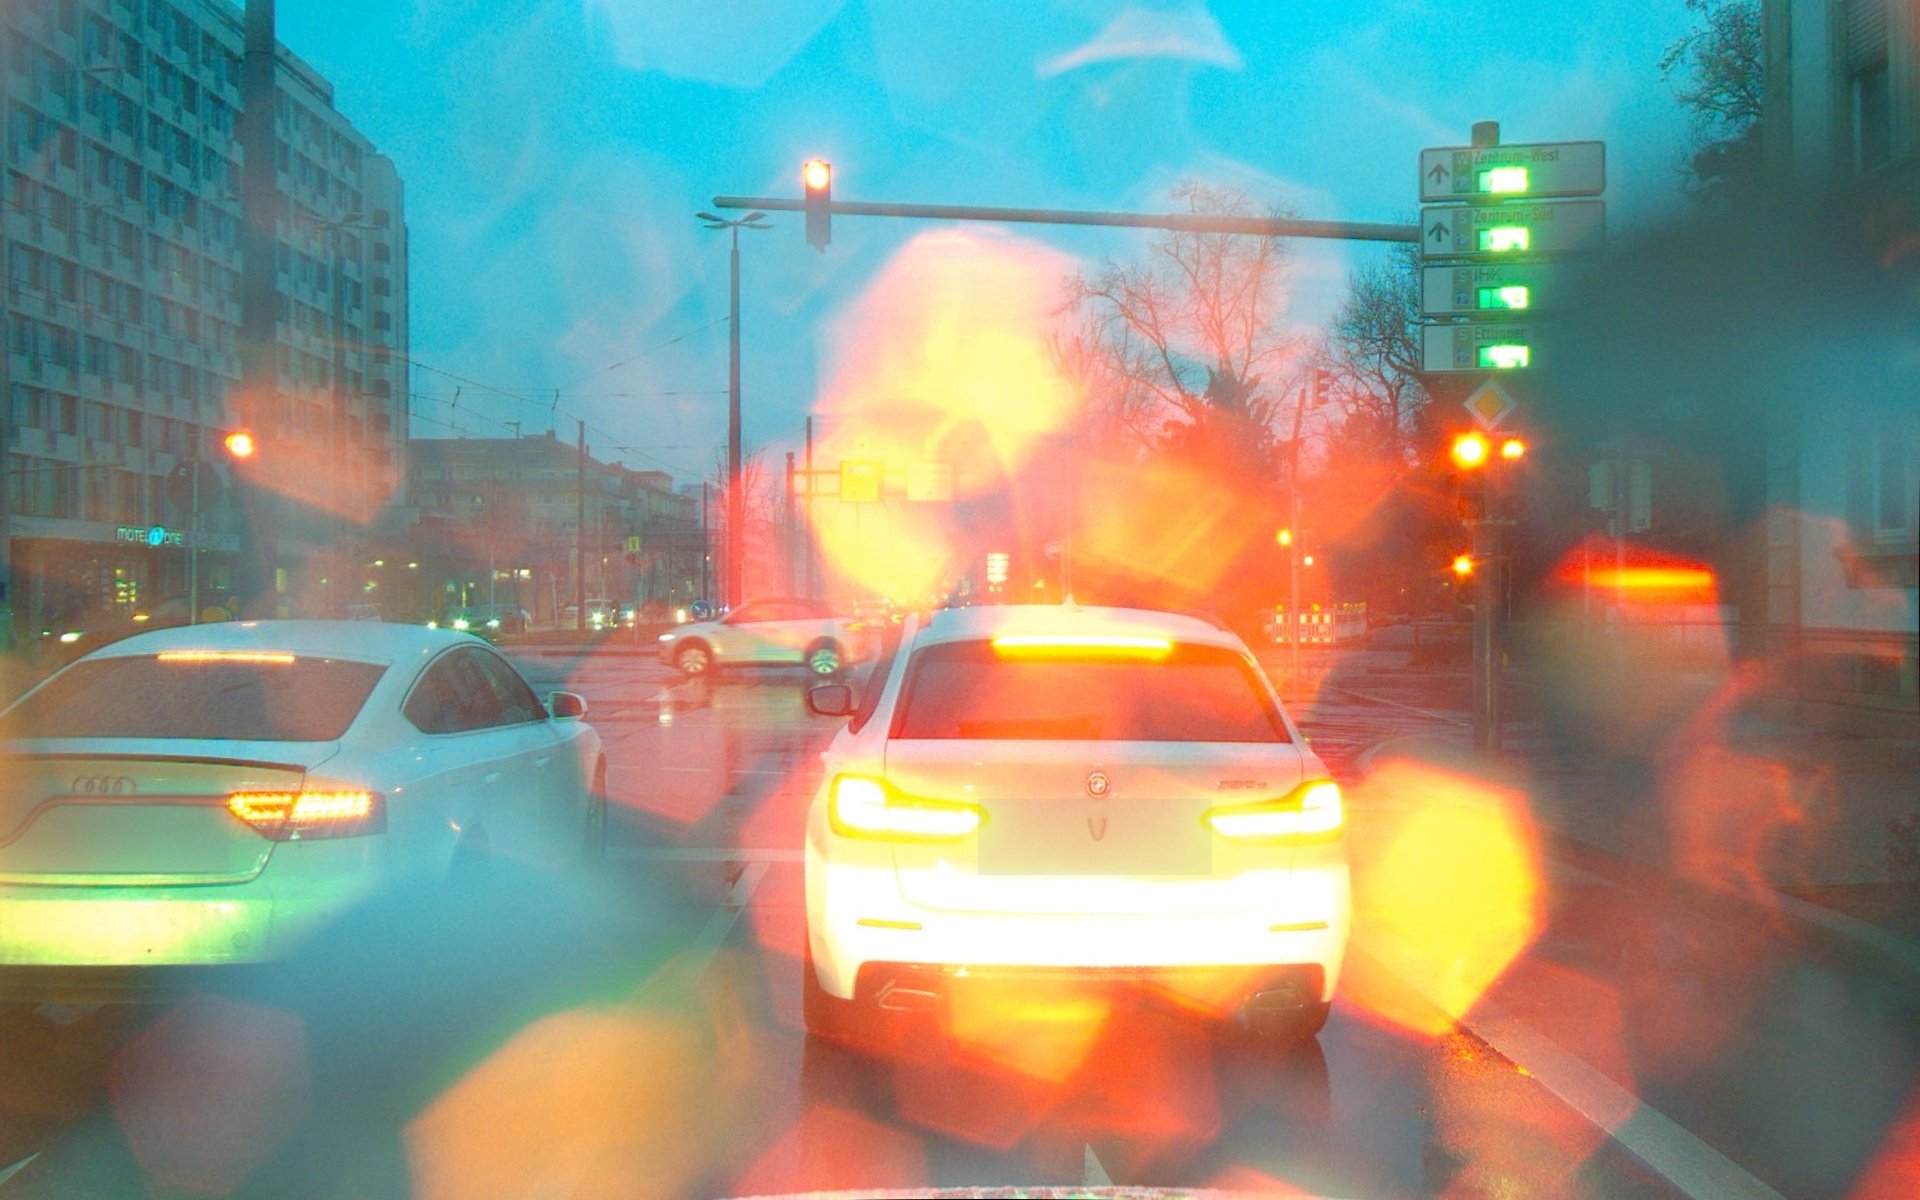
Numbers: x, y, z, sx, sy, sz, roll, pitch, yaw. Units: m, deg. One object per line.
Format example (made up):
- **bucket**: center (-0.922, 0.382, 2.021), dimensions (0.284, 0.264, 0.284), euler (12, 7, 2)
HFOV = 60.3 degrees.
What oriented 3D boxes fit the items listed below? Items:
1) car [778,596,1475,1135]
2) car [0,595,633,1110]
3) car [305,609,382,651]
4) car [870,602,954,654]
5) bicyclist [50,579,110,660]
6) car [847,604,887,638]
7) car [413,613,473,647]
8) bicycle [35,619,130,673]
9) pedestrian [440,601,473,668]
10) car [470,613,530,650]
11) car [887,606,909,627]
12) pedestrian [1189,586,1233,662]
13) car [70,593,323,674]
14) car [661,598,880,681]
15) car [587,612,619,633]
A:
- **car**: center (0.378, 0.735, 6.806), dimensions (1.954, 1.481, 4.366), euler (0, 0, -3)
- **car**: center (-2.704, 0.727, 6.977), dimensions (1.954, 1.481, 4.366), euler (0, 0, -3)
- **car**: center (-23.876, 1.148, 64.176), dimensions (1.641, 1.534, 3.695), euler (1, -1, -1)
- **car**: center (-1.461, 0.820, 48.495), dimensions (1.721, 1.426, 3.987), euler (2, -1, -13)
- **bicyclist**: center (-19.789, 0.447, 37.209), dimensions (0.955, 1.789, 0.810), euler (1, -1, 35)
- **car**: center (-4.574, 1.010, 81.279), dimensions (1.710, 1.581, 3.962), euler (2, -1, -6)
- **car**: center (-24.163, 1.407, 77.377), dimensions (1.641, 1.534, 3.695), euler (1, -1, -1)
- **bicycle**: center (-19.713, 1.020, 37.126), dimensions (2.622, 1.108, 0.812), euler (1, -1, 36)
- **pedestrian**: center (-13.420, 0.919, 44.122), dimensions (0.777, 1.741, 0.809), euler (2, -1, -16)
- **car**: center (-20.229, 1.384, 72.830), dimensions (1.641, 1.534, 3.695), euler (1, -1, -1)
- **car**: center (-5.121, 1.372, 137.281), dimensions (1.806, 1.637, 3.943), euler (1, -1, -2)
- **pedestrian**: center (6.396, 0.618, 42.137), dimensions (0.884, 1.888, 0.812), euler (1, -1, 23)
- **car**: center (-14.473, 0.644, 31.570), dimensions (4.021, 1.466, 1.834), euler (1, -1, -12)
- **car**: center (-3.691, 0.774, 32.645), dimensions (4.007, 1.556, 1.840), euler (0, -1, 3)
- **car**: center (-26.618, 1.695, 123.333), dimensions (1.641, 1.534, 3.695), euler (1, -1, -1)
